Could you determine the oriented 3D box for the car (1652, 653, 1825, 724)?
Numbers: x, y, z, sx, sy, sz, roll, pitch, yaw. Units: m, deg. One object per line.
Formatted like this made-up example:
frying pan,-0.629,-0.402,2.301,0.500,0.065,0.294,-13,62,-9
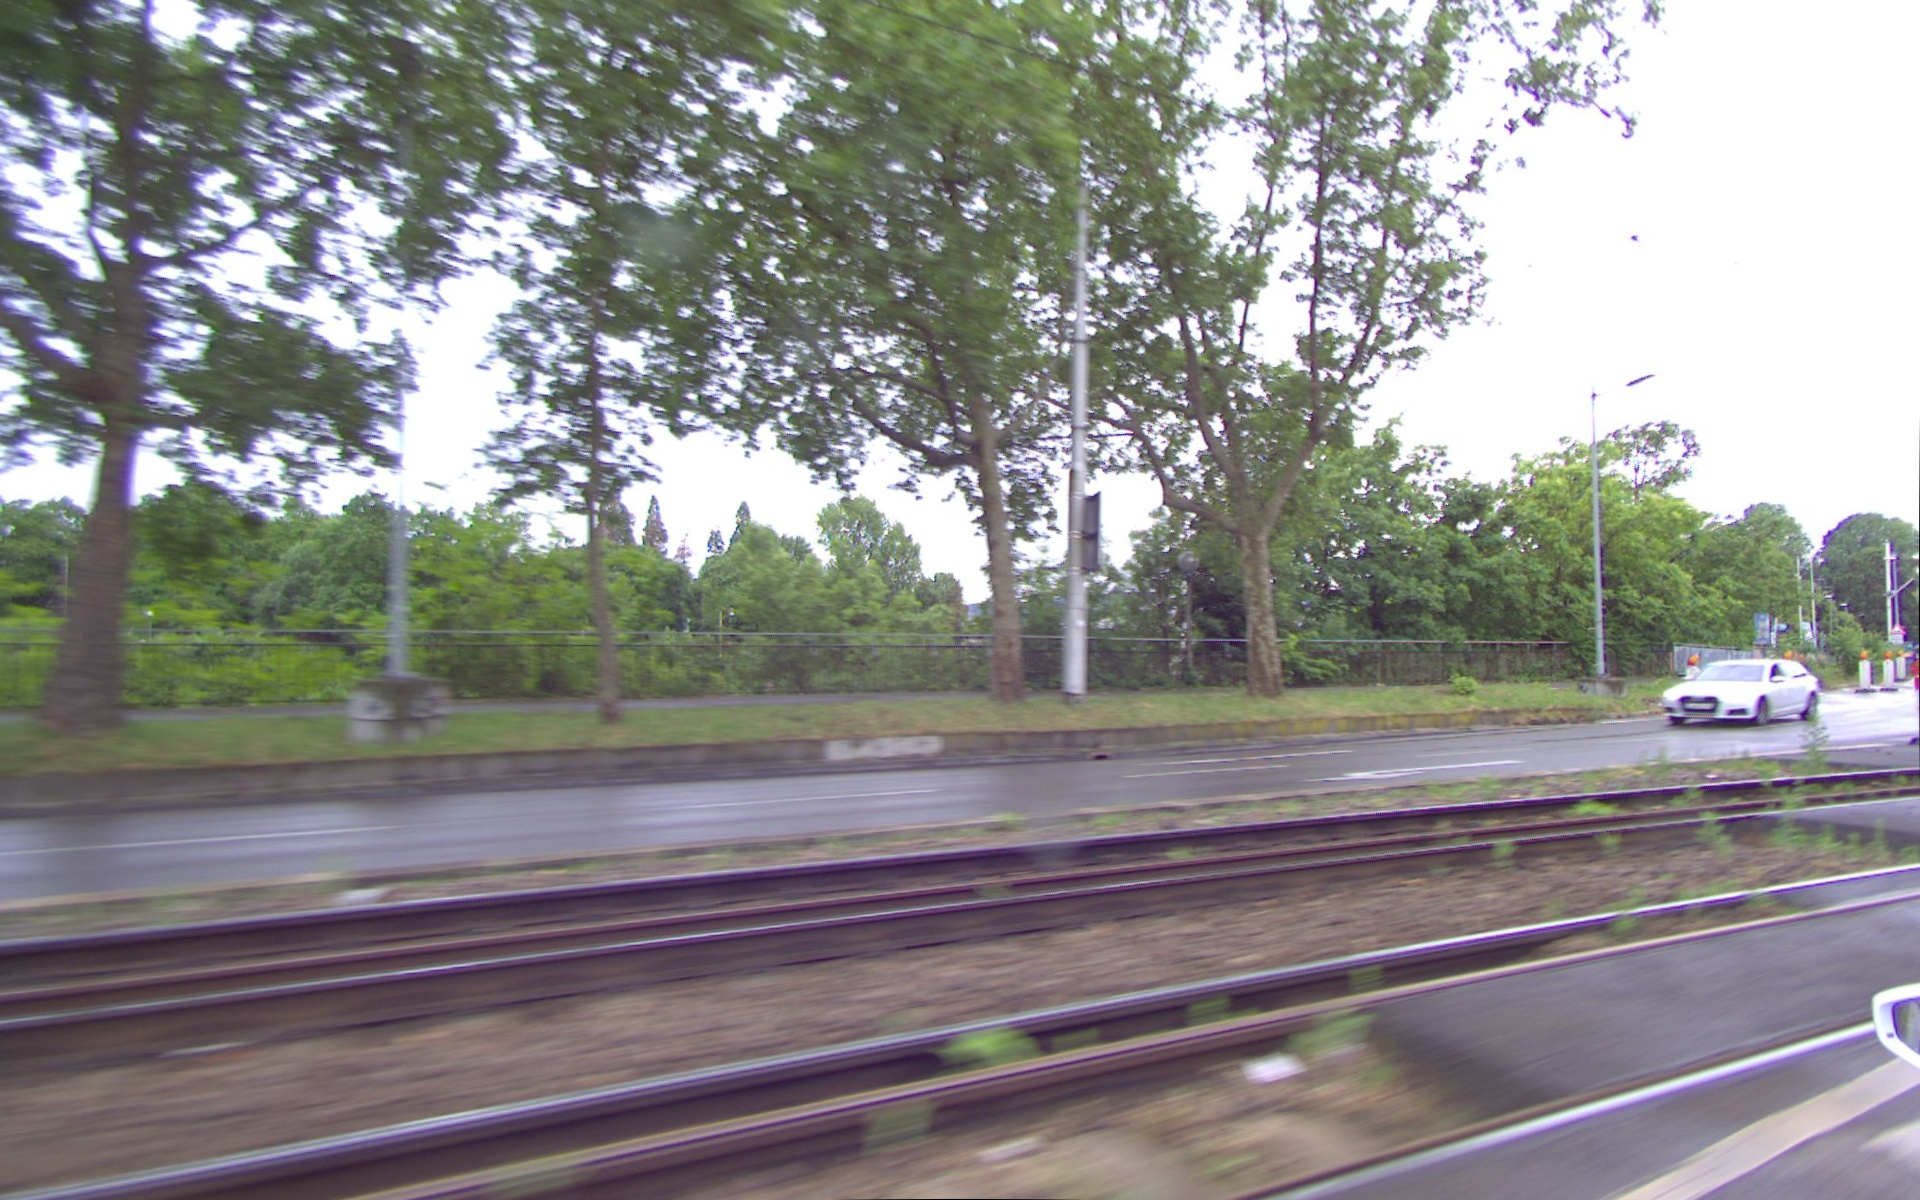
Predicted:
car,18.277,2.027,23.528,4.669,1.518,1.700,2,-5,-33
